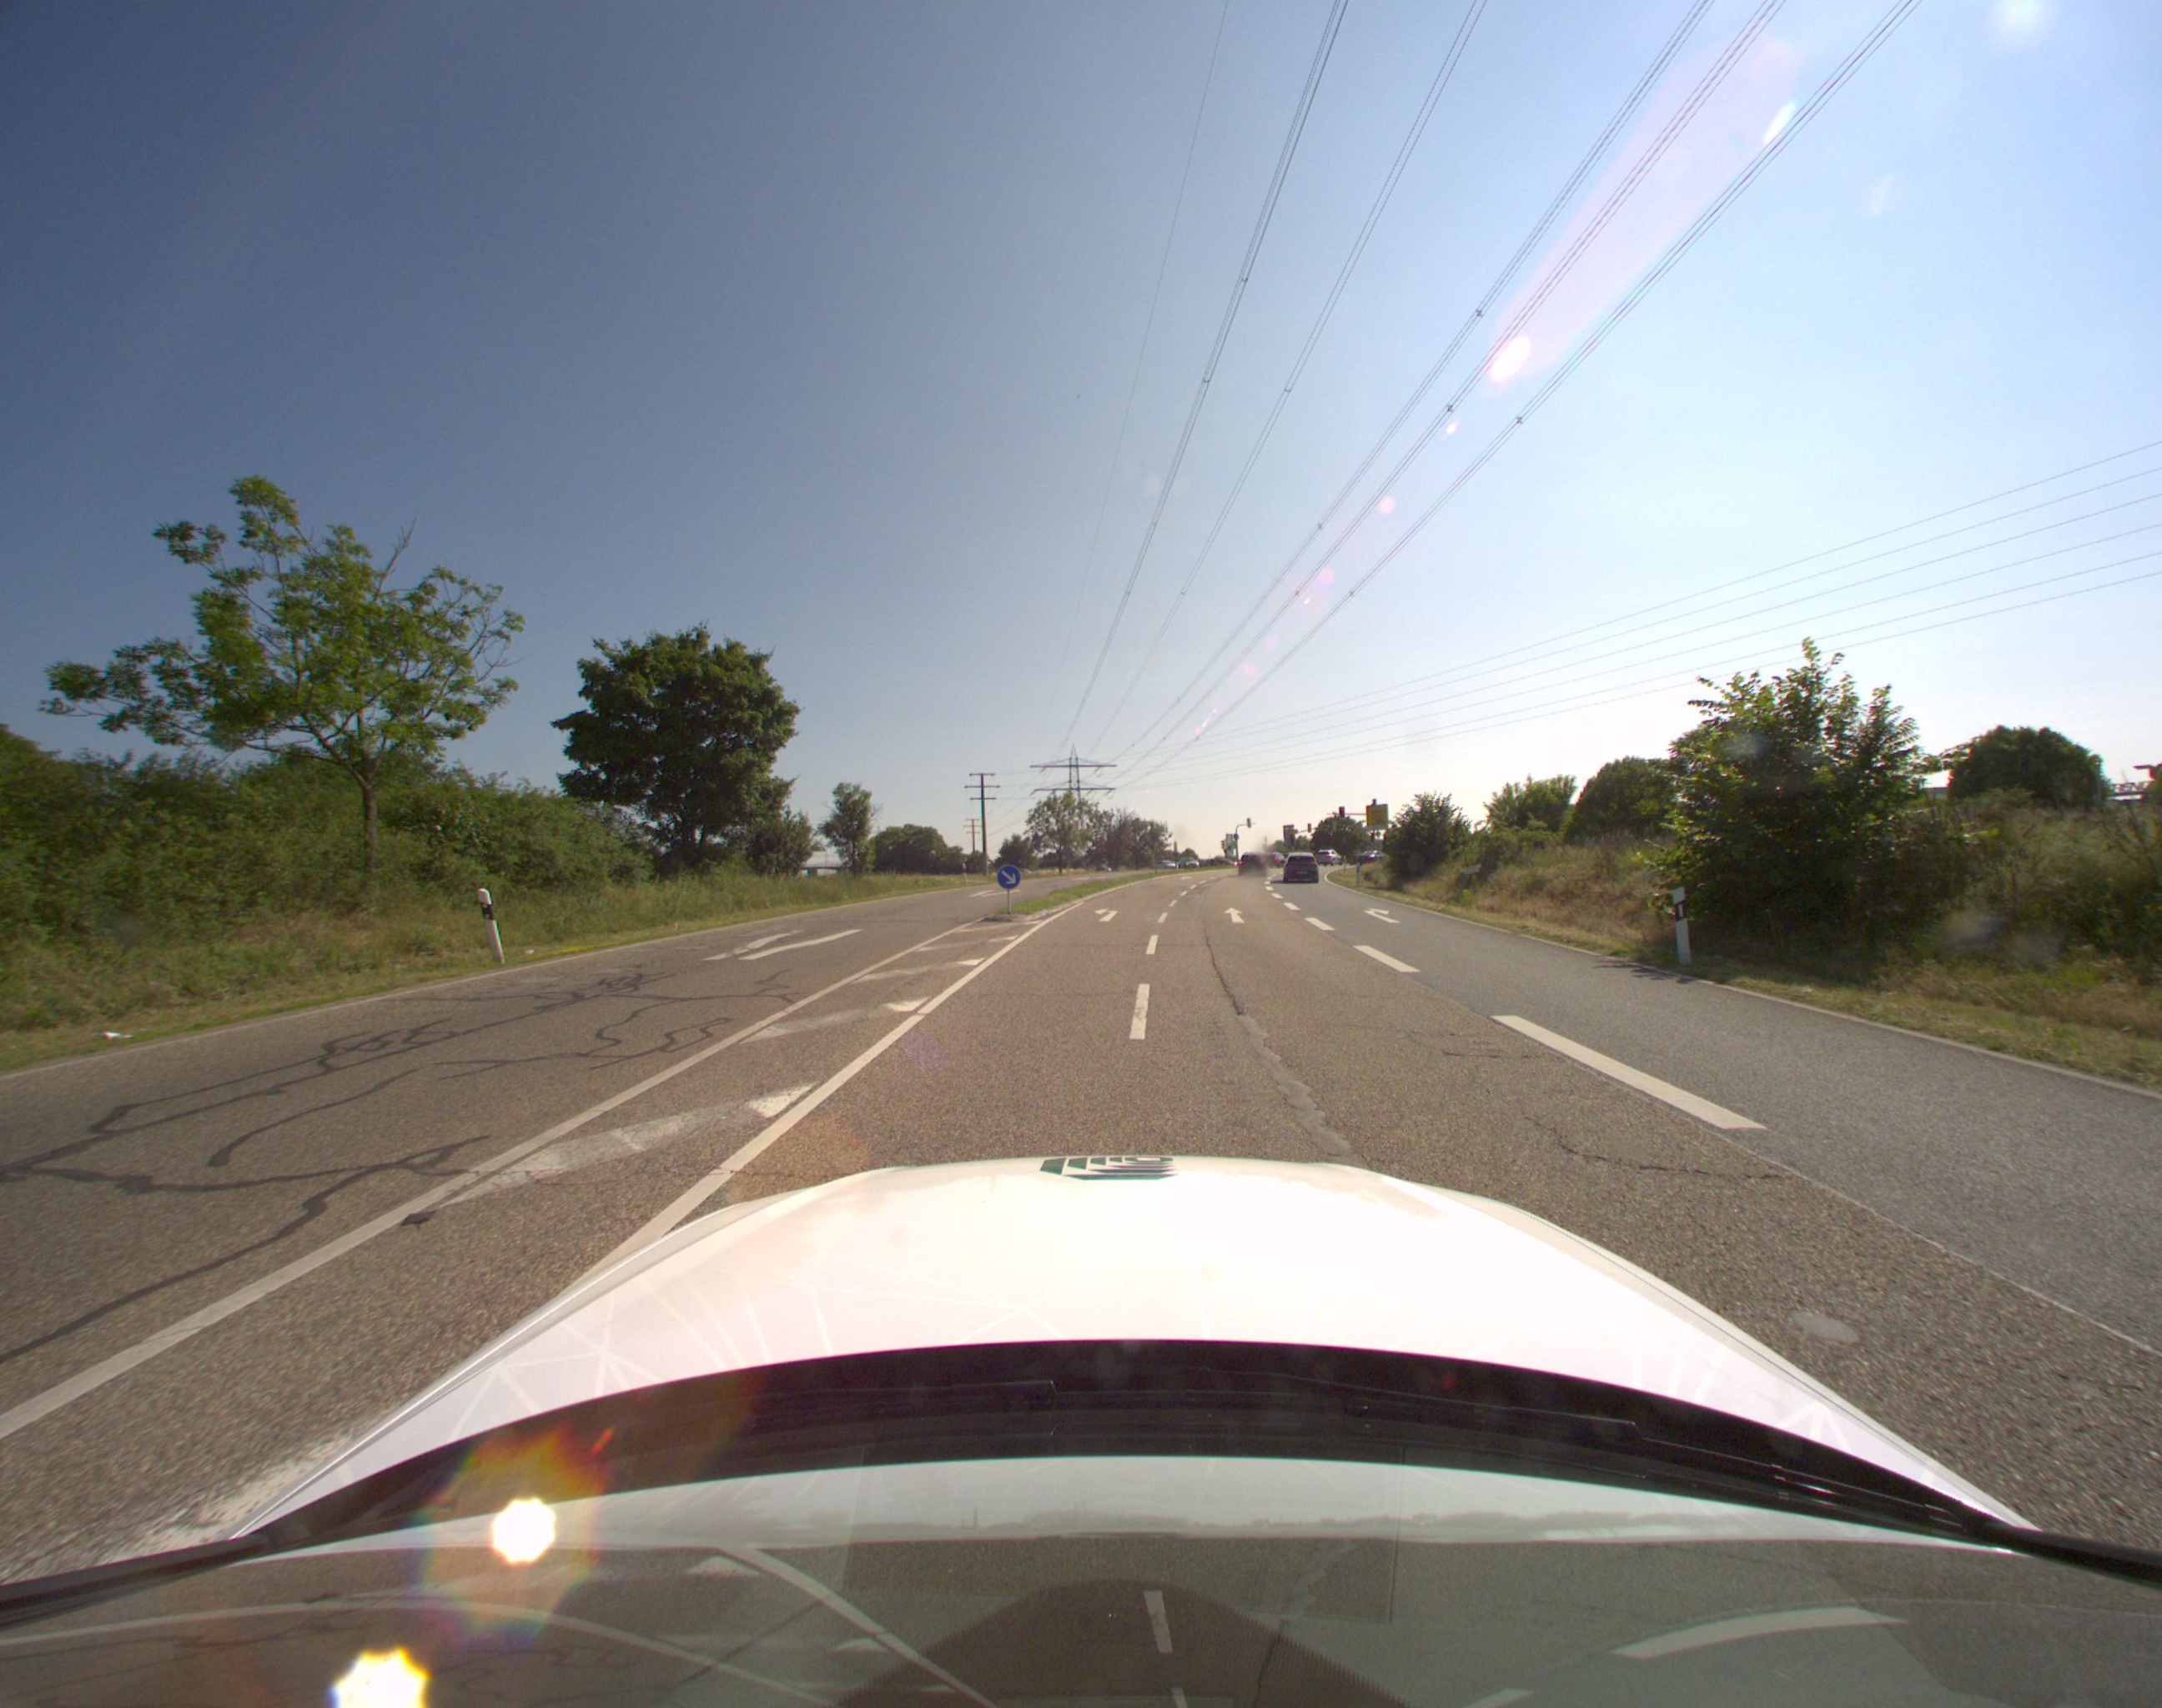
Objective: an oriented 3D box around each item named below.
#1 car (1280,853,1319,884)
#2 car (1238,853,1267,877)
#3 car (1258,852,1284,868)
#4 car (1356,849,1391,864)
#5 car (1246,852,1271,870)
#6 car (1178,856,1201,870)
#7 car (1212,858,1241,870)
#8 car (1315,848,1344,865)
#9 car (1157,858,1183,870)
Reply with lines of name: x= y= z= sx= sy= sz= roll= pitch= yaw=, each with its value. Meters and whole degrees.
car: x=11.391 y=0.720 z=42.605 sx=1.761 sy=1.517 sz=4.113 roll=0 pitch=0 yaw=12
car: x=11.113 y=0.709 z=52.628 sx=1.620 sy=1.448 sz=3.308 roll=-1 pitch=0 yaw=16
car: x=18.764 y=0.590 z=80.198 sx=1.726 sy=1.569 sz=3.645 roll=-1 pitch=-1 yaw=26
car: x=28.780 y=0.238 z=80.096 sx=1.626 sy=1.385 sz=4.024 roll=-3 pitch=-1 yaw=45
car: x=15.992 y=0.606 z=73.359 sx=1.728 sy=1.569 sz=3.642 roll=-1 pitch=0 yaw=19
car: x=14.495 y=1.225 z=108.673 sx=1.815 sy=1.651 sz=3.984 roll=-2 pitch=-1 yaw=-11
car: x=20.991 y=1.429 z=117.725 sx=1.828 sy=1.651 sz=3.955 roll=-1 pitch=-2 yaw=-37
car: x=25.623 y=0.280 z=84.075 sx=1.617 sy=1.677 sz=3.773 roll=-2 pitch=-1 yaw=37
car: x=12.692 y=1.459 z=116.042 sx=1.823 sy=1.651 sz=3.966 roll=-1 pitch=-1 yaw=-25
